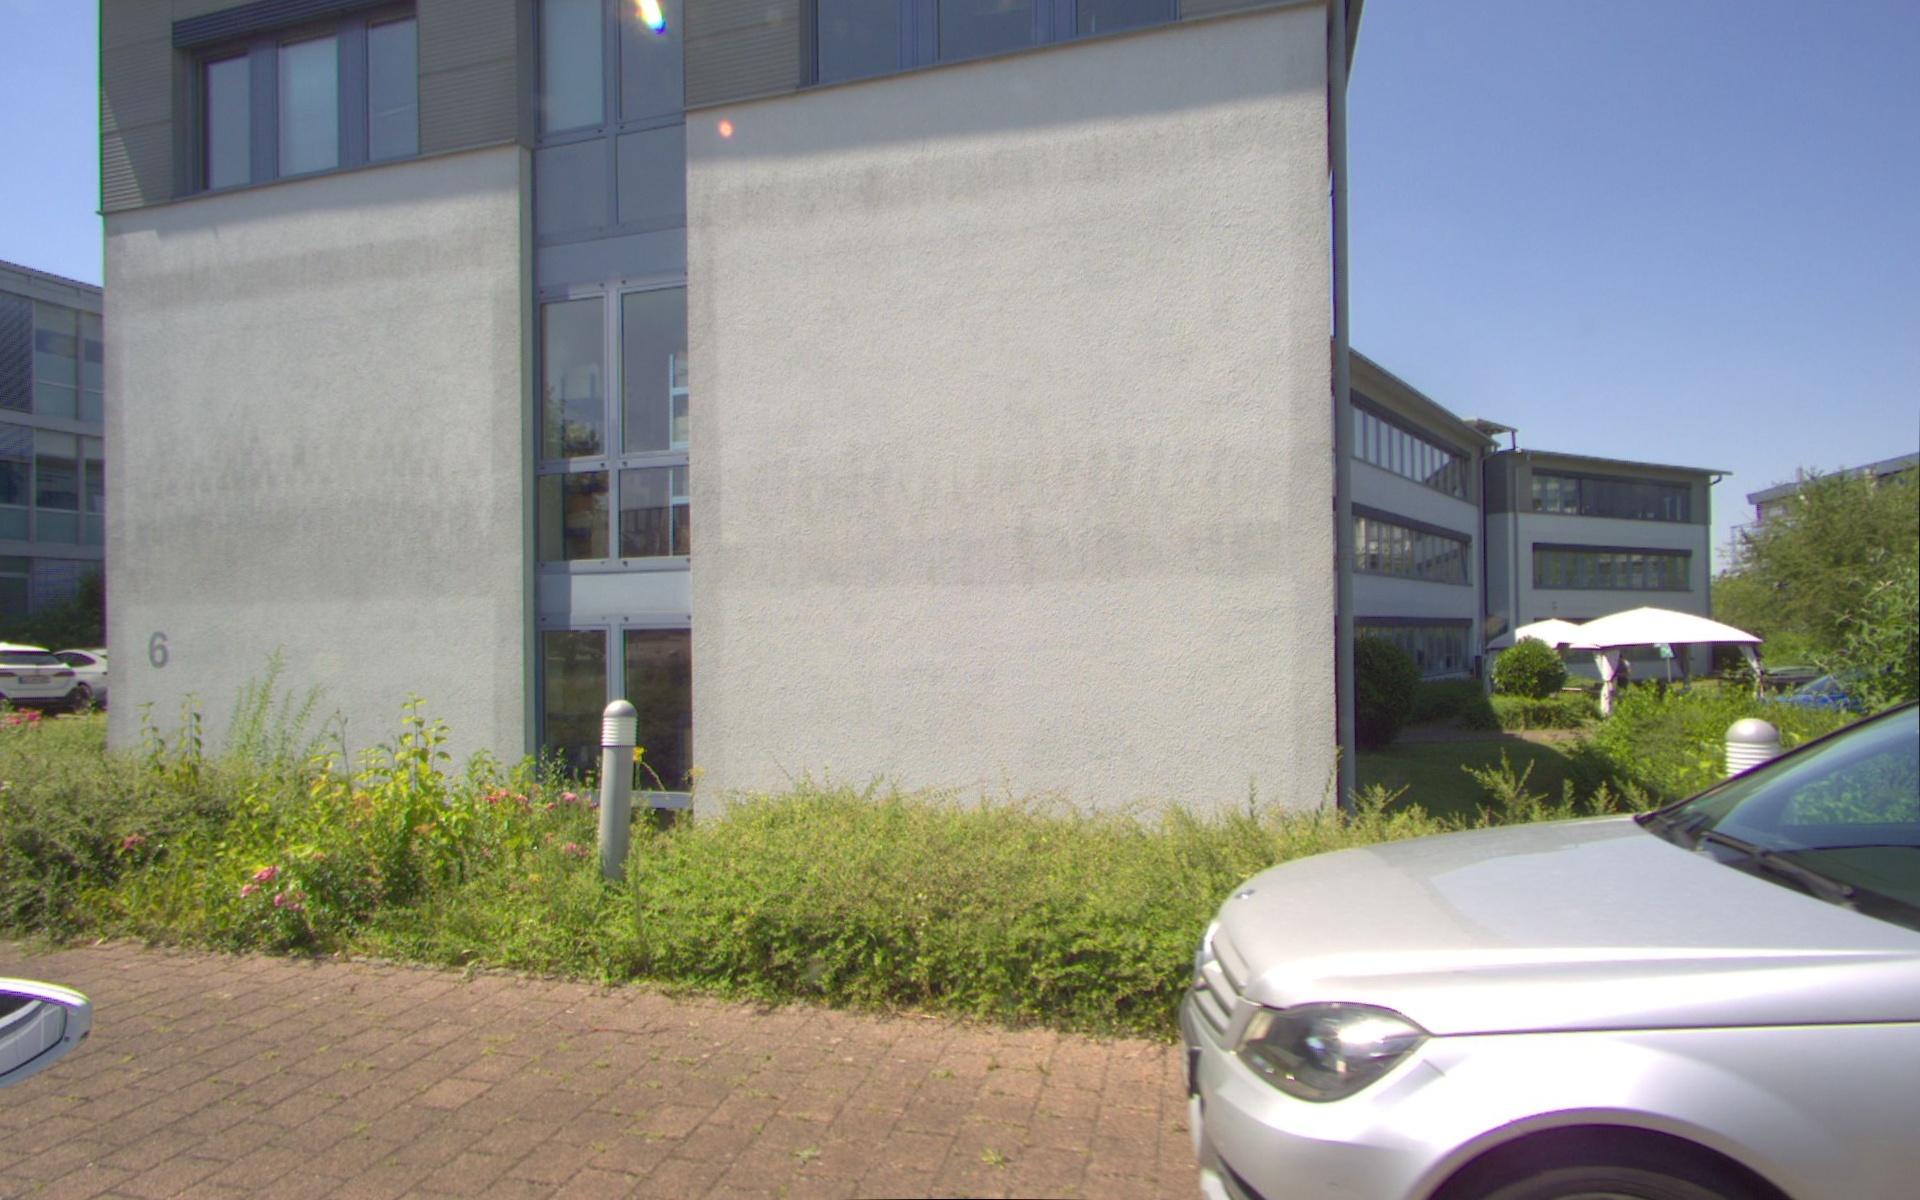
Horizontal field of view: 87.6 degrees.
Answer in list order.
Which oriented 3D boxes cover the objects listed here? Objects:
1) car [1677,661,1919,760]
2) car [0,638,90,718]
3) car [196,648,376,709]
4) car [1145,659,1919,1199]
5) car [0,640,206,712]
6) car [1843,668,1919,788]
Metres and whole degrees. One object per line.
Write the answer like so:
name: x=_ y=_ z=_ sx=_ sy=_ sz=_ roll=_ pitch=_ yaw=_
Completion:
car: x=14.971 y=1.797 z=16.676 sx=4.526 sy=1.512 sz=1.857 roll=0 pitch=-3 yaw=13
car: x=-20.197 y=1.512 z=20.166 sx=4.257 sy=1.510 sz=1.742 roll=1 pitch=-3 yaw=11
car: x=-18.160 y=2.082 z=26.978 sx=4.469 sy=1.465 sz=1.739 roll=0 pitch=-3 yaw=21
car: x=2.671 y=0.849 z=2.101 sx=4.339 sy=1.415 sz=1.804 roll=-1 pitch=-2 yaw=16
car: x=-19.486 y=1.694 z=22.730 sx=4.264 sy=1.447 sz=1.739 roll=0 pitch=-3 yaw=21
car: x=14.718 y=1.699 z=13.110 sx=4.344 sy=1.538 sz=1.857 roll=0 pitch=-3 yaw=13
